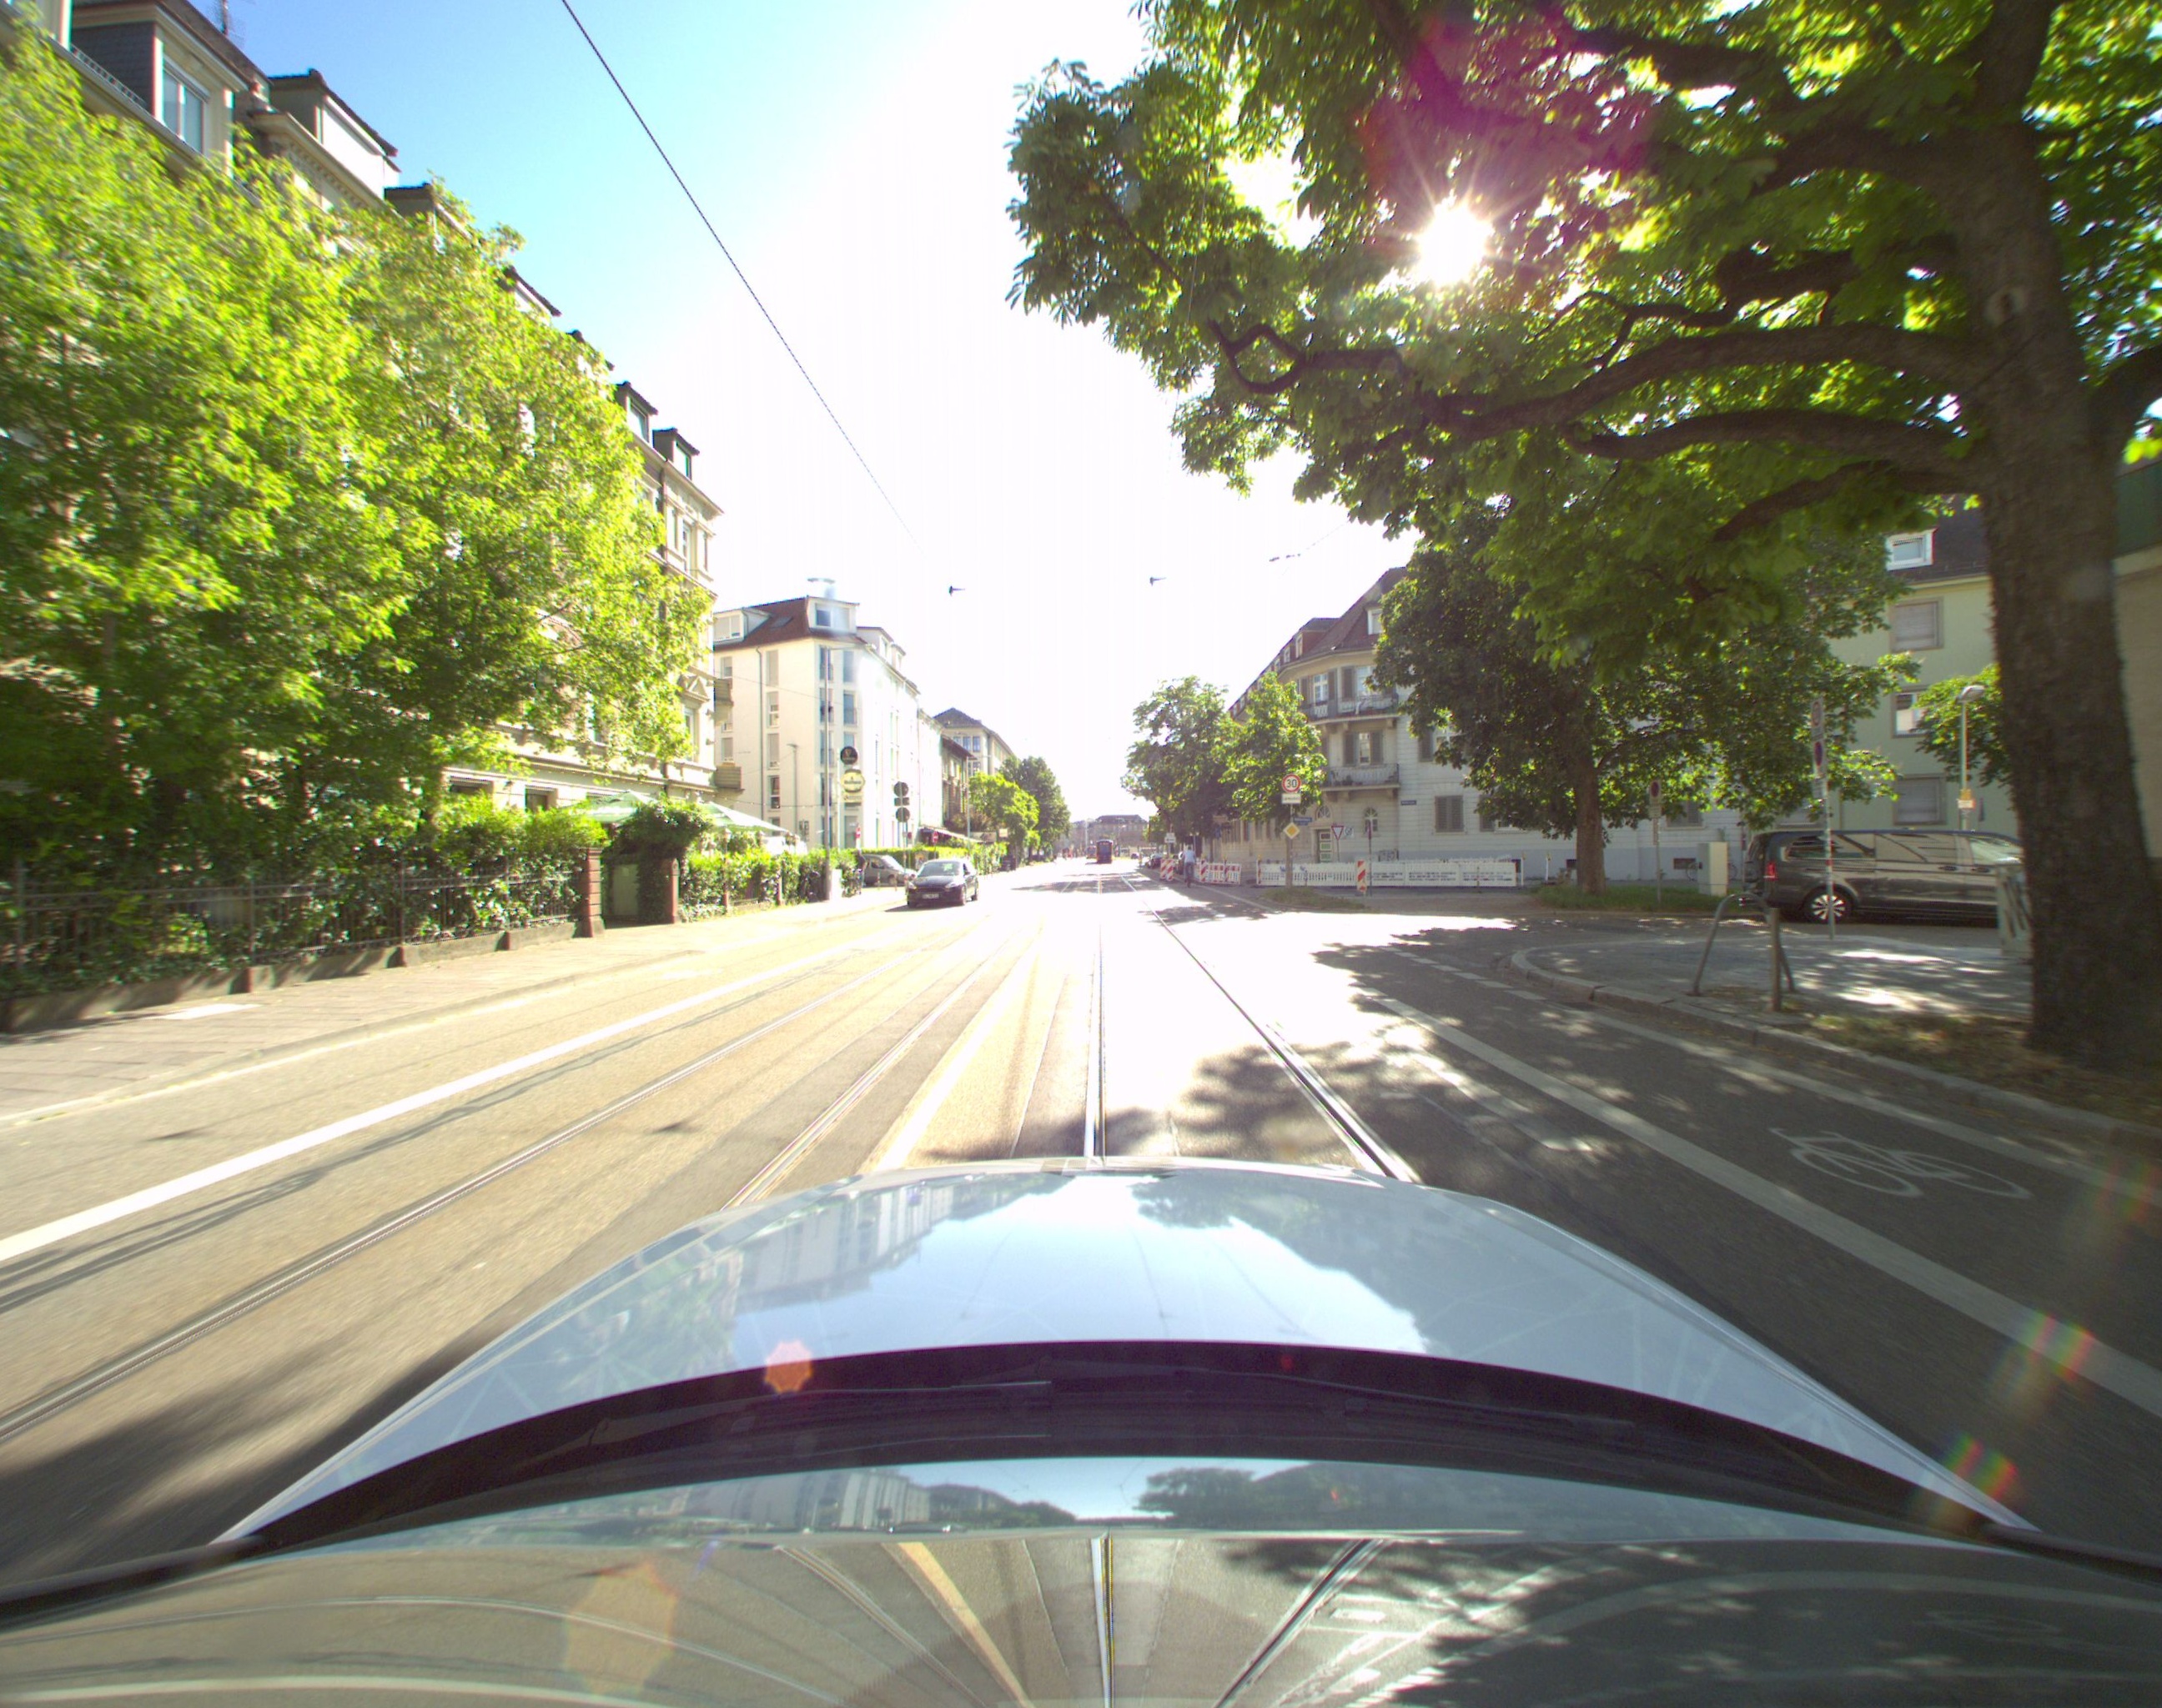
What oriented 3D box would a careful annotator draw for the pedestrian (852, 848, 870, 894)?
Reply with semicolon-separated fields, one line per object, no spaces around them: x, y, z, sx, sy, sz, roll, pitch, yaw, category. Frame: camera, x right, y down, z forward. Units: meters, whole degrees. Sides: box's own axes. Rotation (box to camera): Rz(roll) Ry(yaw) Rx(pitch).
-8.640;0.677;31.960;0.555;1.781;0.538;-1;0;-2;pedestrian

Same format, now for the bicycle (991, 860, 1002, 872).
-7.345;1.041;70.660;0.636;1.059;1.744;1;0;2;bicycle

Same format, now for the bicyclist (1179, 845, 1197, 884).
4.743;0.446;36.106;0.735;1.686;0.972;0;0;3;bicyclist

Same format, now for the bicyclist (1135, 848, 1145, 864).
6.089;0.186;83.511;0.699;1.675;1.107;1;0;21;bicyclist

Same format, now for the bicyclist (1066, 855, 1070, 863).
-2.783;0.983;173.007;0.683;1.644;1.239;-3;0;5;bicyclist

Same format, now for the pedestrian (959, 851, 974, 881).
-6.870;0.704;48.924;0.689;1.768;0.867;-1;0;2;pedestrian

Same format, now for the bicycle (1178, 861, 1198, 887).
4.745;0.858;36.118;0.735;1.094;2.113;0;0;3;bicycle

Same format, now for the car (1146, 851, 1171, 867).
7.701;0.491;81.287;1.817;1.458;4.814;-3;0;-2;car

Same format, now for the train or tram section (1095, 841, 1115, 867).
3.541;-0.071;122.526;2.732;3.651;13.787;-1;0;1;train or tram section

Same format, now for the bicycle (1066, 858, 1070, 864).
-2.716;1.471;173.256;0.683;1.124;1.934;-3;0;6;bicycle

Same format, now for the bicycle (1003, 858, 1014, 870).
-7.403;1.024;83.093;0.642;1.143;1.910;1;0;9;bicycle

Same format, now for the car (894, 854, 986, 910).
-4.513;0.831;26.794;1.856;1.576;4.594;-3;0;4;car

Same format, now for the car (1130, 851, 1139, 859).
11.951;0.178;181.997;1.780;1.604;3.719;0;0;6;car

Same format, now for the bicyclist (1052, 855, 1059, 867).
-3.468;0.987;112.089;0.742;1.599;1.118;-4;0;2;bicyclist

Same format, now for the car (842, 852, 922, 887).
-11.104;0.865;45.556;4.005;1.807;1.801;-2;-1;22;car

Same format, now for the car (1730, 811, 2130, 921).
16.121;0.270;15.954;5.003;1.890;2.012;-1;-2;27;car

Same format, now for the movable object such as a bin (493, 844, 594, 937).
-10.656;0.692;16.168;1.275;1.731;1.047;2;0;17;movable object such as a bin

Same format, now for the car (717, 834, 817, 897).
-15.084;0.550;39.464;1.871;2.841;4.805;-2;-1;18;car

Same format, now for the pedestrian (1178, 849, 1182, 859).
13.603;-0.002;111.685;0.515;1.404;0.765;-2;0;4;pedestrian

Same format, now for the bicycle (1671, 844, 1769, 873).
25.736;0.200;32.876;3.073;1.112;0.529;-1;3;28;bicycle

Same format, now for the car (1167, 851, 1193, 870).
7.827;0.493;64.776;1.716;1.382;4.359;-3;0;3;car

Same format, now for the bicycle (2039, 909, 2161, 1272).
4.147;0.843;2.170;0.758;1.242;2.096;0;0;1;bicycle

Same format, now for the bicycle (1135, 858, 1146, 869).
6.083;0.954;83.514;0.699;1.104;1.726;1;1;21;bicycle

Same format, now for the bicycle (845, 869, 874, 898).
-8.292;1.090;30.532;0.525;0.981;1.778;-1;0;2;bicycle

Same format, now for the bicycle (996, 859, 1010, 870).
-7.805;1.002;81.449;0.631;1.045;2.031;-1;0;18;bicycle

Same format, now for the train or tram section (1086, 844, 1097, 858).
2.994;-0.917;230.029;2.732;3.651;13.787;-1;0;1;train or tram section

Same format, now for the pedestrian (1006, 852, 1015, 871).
-7.047;0.751;81.215;0.570;1.831;0.693;-1;0;20;pedestrian

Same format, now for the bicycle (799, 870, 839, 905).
-8.546;1.085;26.646;0.511;1.038;2.224;-1;0;2;bicycle

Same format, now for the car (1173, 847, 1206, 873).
7.550;0.411;56.994;1.803;1.626;4.586;-3;0;2;car
